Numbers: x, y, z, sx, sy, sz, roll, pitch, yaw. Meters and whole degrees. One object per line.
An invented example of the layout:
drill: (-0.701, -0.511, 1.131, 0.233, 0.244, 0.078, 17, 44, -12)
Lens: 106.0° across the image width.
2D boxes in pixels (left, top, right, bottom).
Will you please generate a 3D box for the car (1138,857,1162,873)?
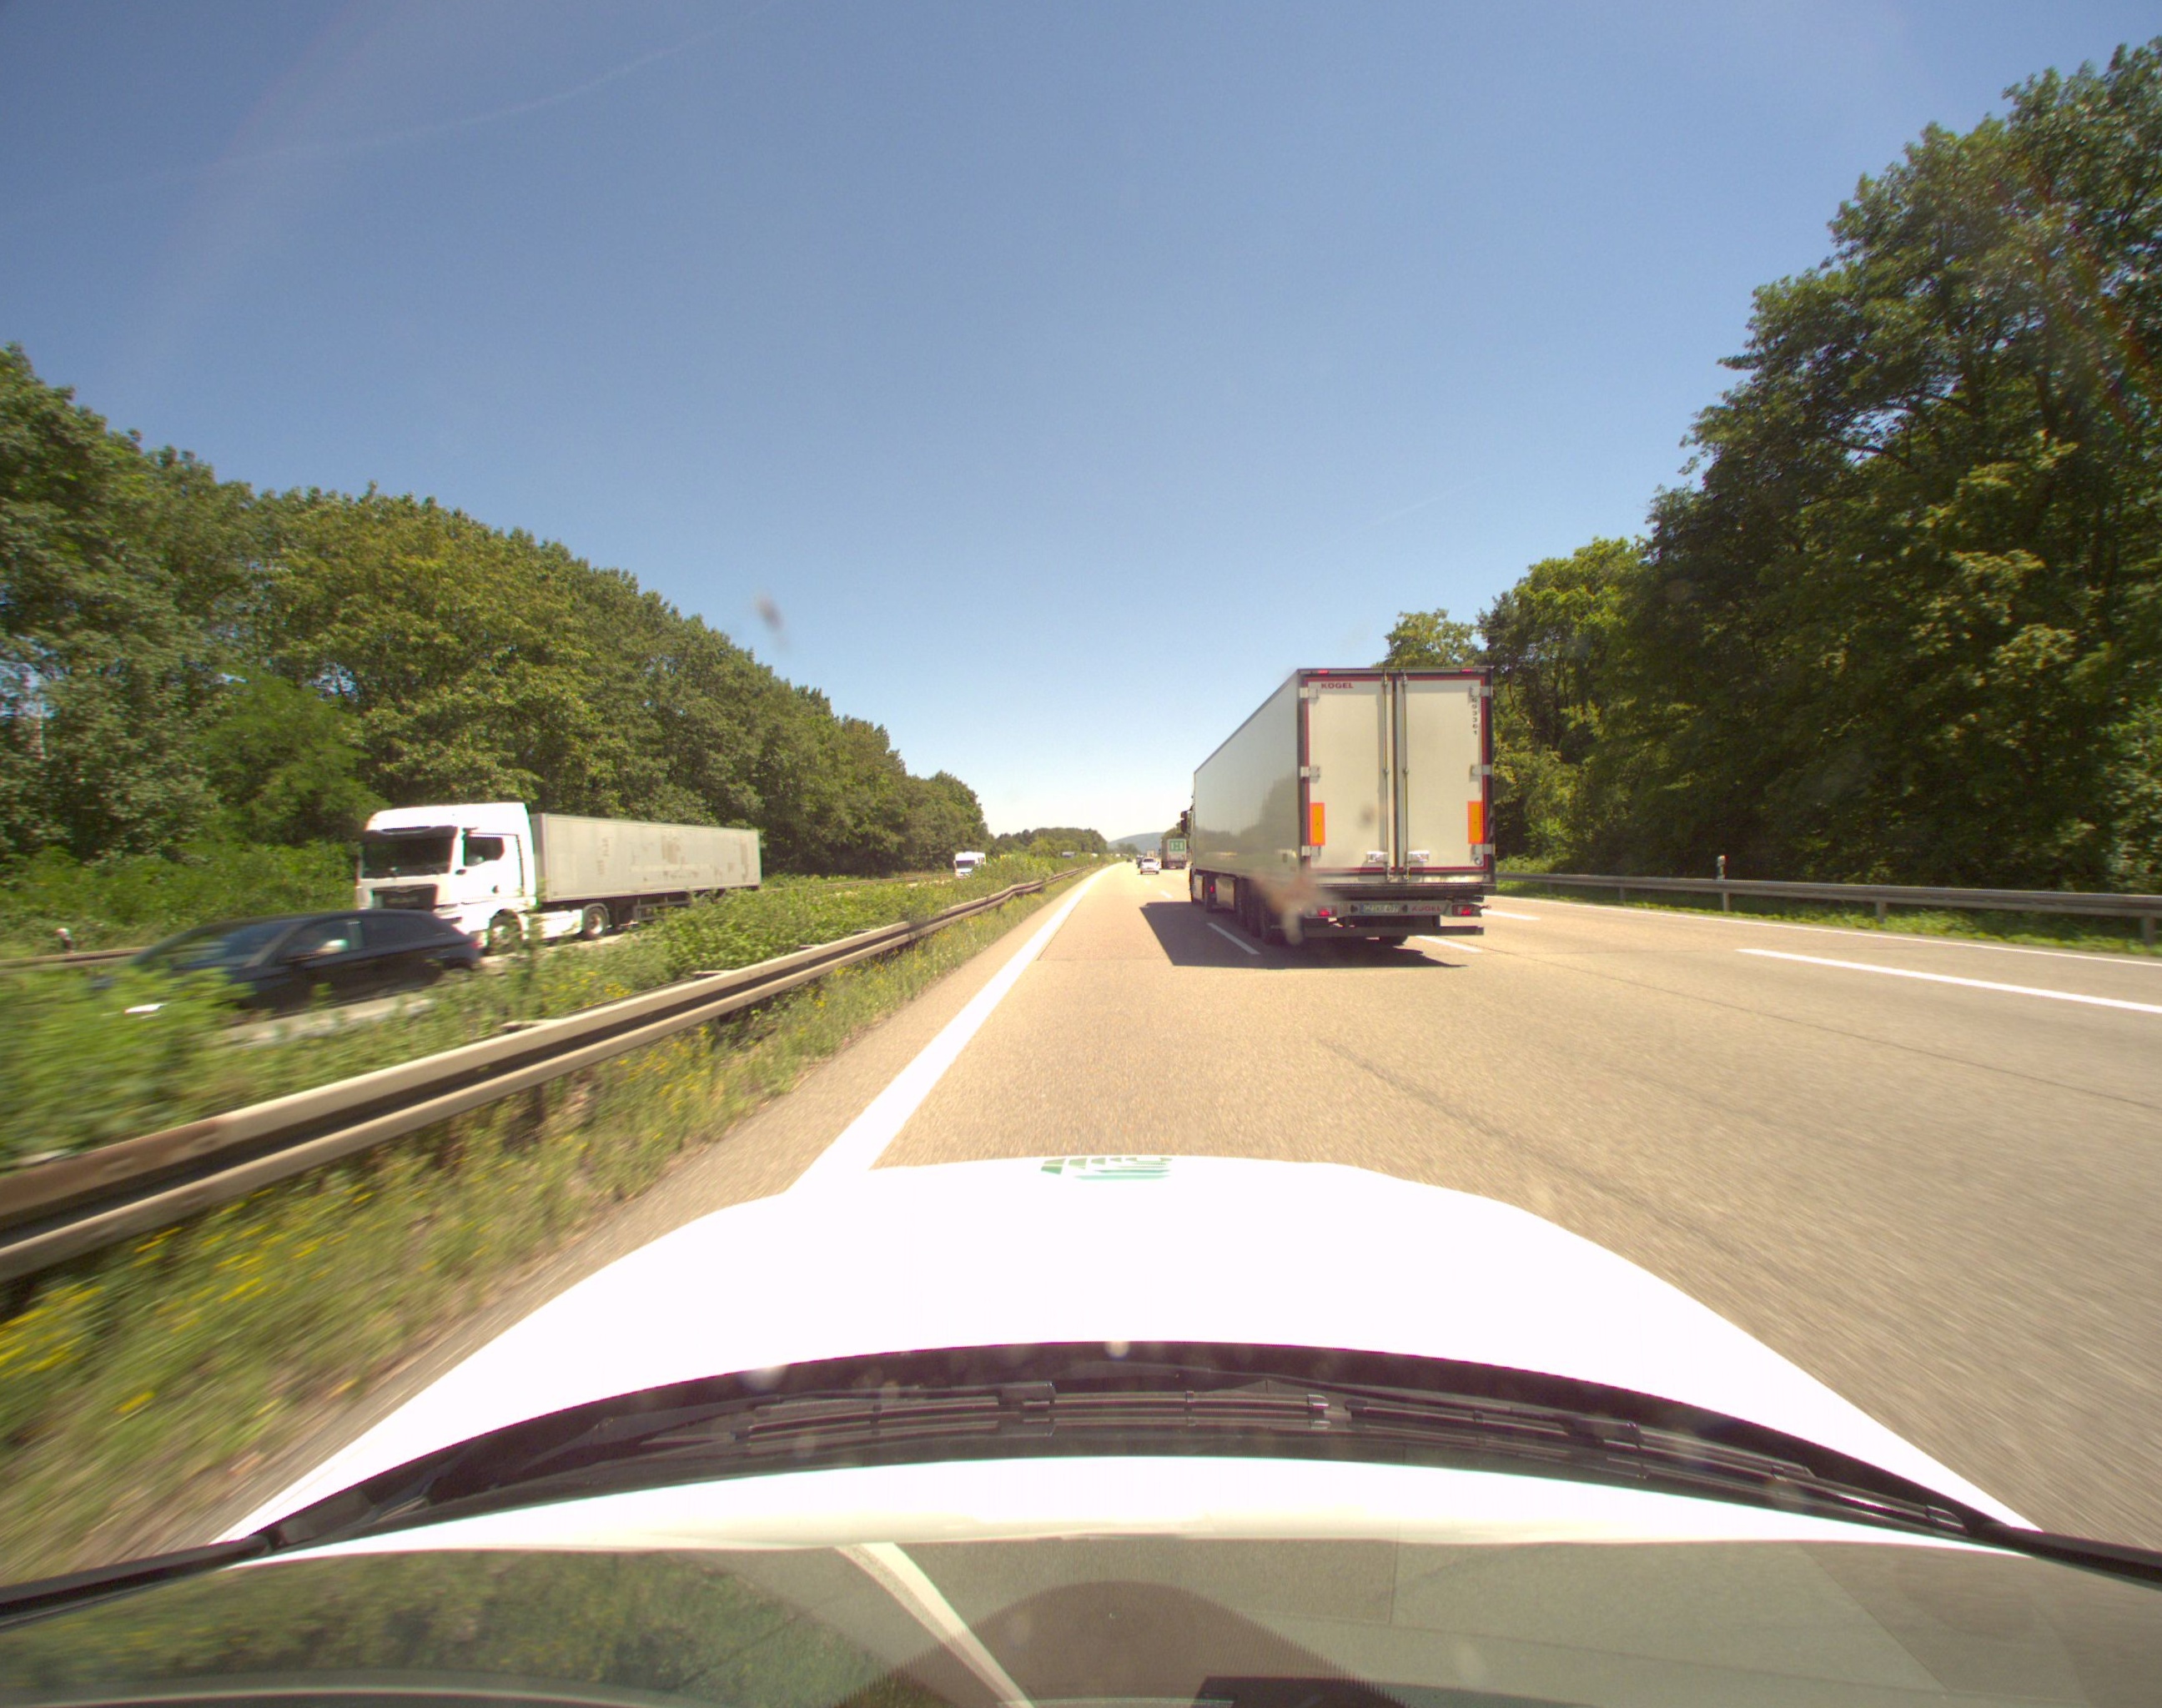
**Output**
car: (6.351, 0.976, 75.106, 1.807, 1.405, 3.315, -2, 0, -2)

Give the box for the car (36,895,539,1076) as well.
car: (-8.509, 1.288, 9.371, 1.805, 1.405, 4.015, -2, 0, 0)

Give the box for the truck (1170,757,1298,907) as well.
truck: (4.586, -0.619, 25.428, 3.216, 4.157, 4.562, -2, 0, 2)

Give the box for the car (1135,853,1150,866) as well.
car: (8.960, 0.806, 118.552, 1.887, 1.892, 4.008, -3, -1, 7)

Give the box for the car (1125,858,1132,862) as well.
car: (15.166, 1.844, 259.574, 1.877, 1.349, 4.465, -2, 0, -1)

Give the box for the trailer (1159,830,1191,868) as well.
trailer: (12.249, -0.554, 107.509, 3.169, 4.627, 12.056, -2, 0, 2)

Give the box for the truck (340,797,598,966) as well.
truck: (-15.599, 0.642, 21.261, 2.879, 3.823, 4.886, -2, 0, 1)

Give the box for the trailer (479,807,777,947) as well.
trailer: (-15.333, 0.674, 29.812, 2.899, 3.878, 13.646, -2, 0, 2)

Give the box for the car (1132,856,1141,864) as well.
car: (13.139, 1.405, 193.009, 1.874, 2.013, 4.002, -2, 0, 2)

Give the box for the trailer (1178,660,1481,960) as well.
trailer: (4.237, -0.619, 17.677, 3.211, 4.143, 12.359, -2, 0, 3)

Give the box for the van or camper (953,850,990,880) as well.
van or camper: (-12.258, 1.204, 91.592, 2.410, 3.112, 9.092, -2, 0, 3)
